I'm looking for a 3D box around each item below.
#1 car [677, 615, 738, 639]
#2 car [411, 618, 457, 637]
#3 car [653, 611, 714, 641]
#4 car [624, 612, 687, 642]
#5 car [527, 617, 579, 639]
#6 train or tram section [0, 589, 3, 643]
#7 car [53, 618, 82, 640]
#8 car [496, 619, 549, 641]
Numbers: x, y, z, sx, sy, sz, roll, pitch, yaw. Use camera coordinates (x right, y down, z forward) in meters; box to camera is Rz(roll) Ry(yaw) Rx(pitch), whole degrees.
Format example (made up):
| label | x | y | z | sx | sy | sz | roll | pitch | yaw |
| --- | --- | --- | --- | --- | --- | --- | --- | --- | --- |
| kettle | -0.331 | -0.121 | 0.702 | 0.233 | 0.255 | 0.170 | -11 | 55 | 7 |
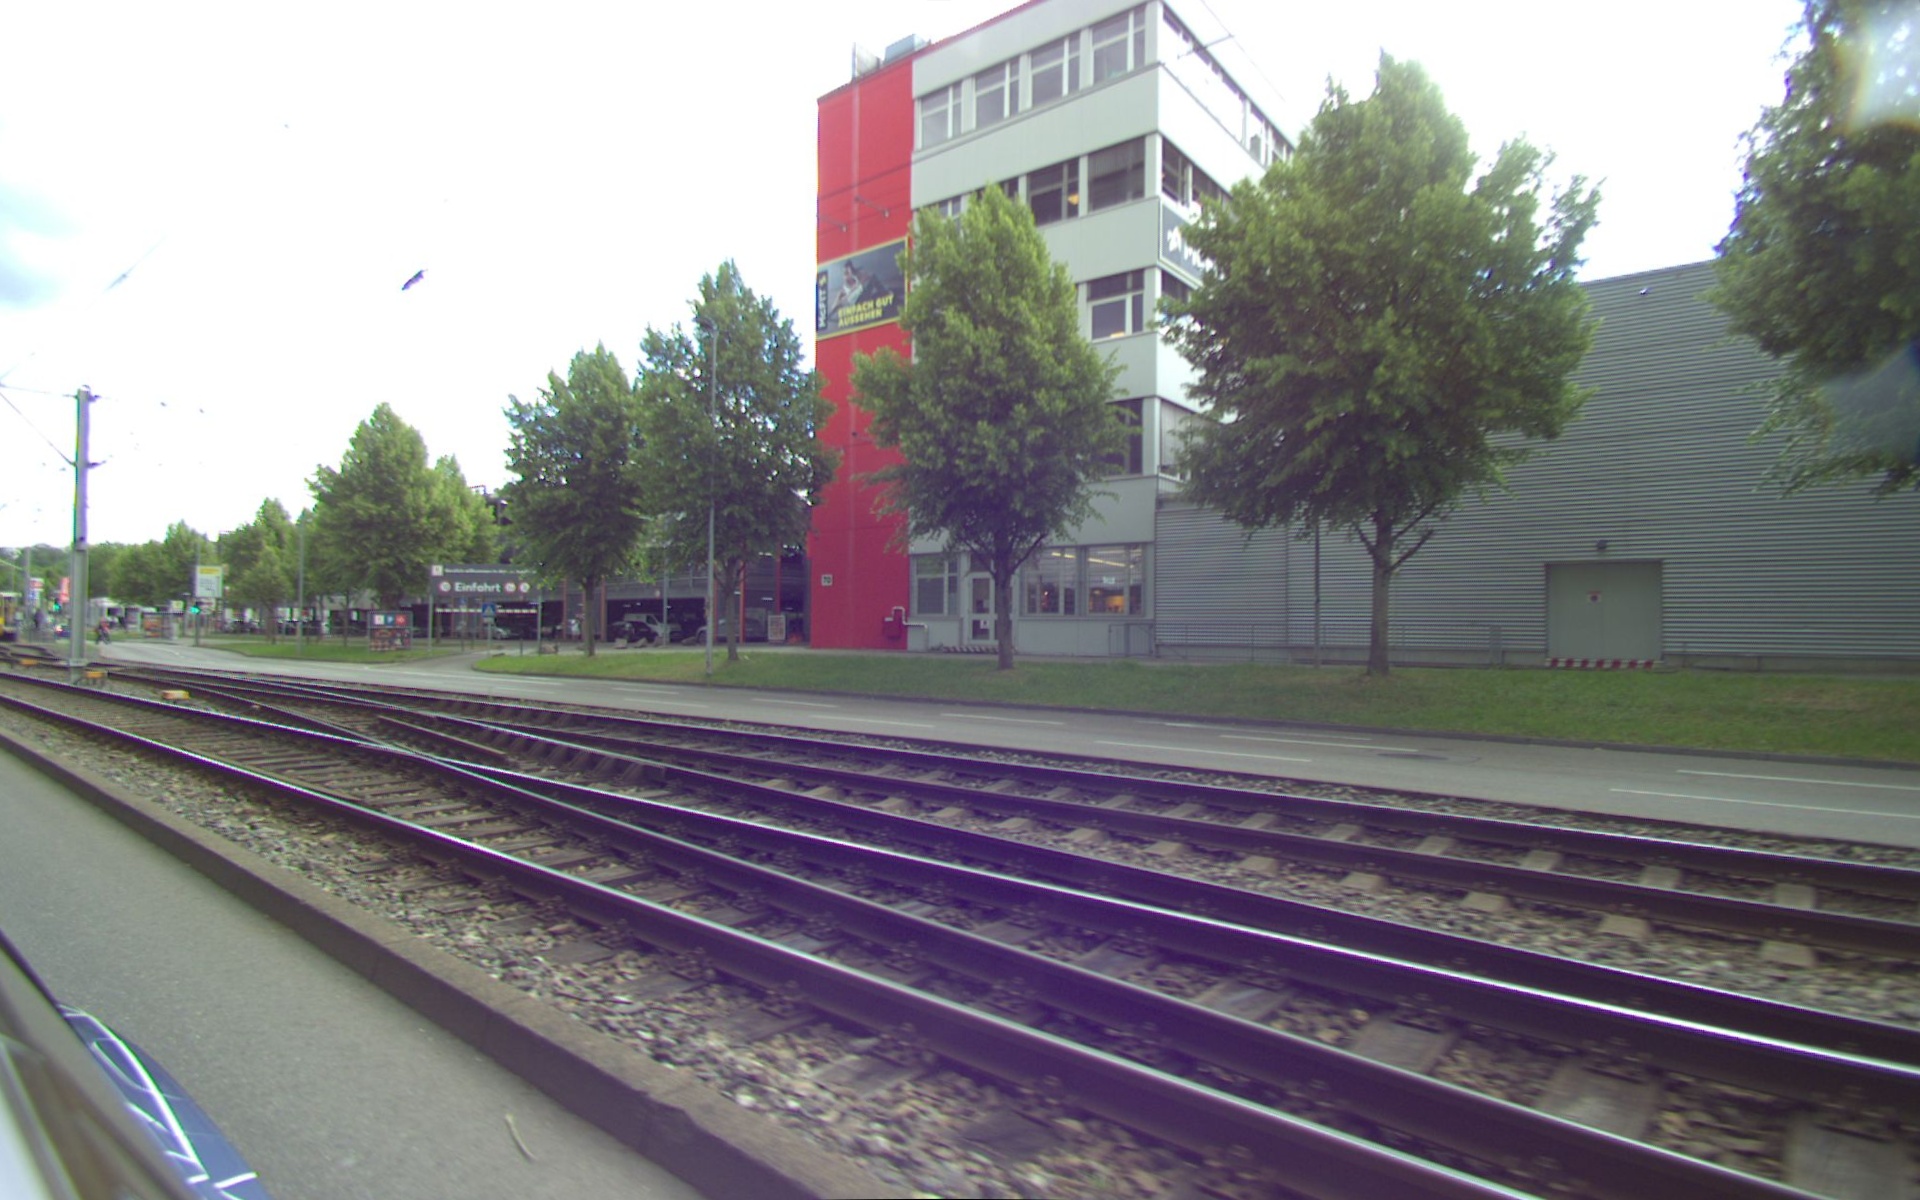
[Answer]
| label | x | y | z | sx | sy | sz | roll | pitch | yaw |
| --- | --- | --- | --- | --- | --- | --- | --- | --- | --- |
| car | -18.240 | 1.936 | 73.041 | 4.400 | 1.662 | 1.974 | -1 | -2 | 38 |
| car | -46.832 | 2.441 | 90.099 | 4.400 | 1.712 | 1.974 | -1 | -2 | 38 |
| car | -19.516 | 1.849 | 71.358 | 4.400 | 2.029 | 1.974 | -1 | -2 | 38 |
| car | -20.929 | 1.857 | 69.434 | 4.400 | 2.029 | 1.974 | -1 | -2 | 38 |
| car | -32.613 | 2.201 | 81.094 | 4.400 | 1.712 | 1.974 | -1 | -2 | 38 |
| train or tram section | -73.211 | 1.229 | 74.232 | 13.775 | 3.804 | 2.743 | -1 | -2 | 40 |
| car | -85.454 | 2.771 | 96.907 | 1.970 | 2.029 | 4.004 | 1 | -2 | -43 |
| car | -34.244 | 2.317 | 79.121 | 4.400 | 1.640 | 1.974 | -1 | -2 | 38 |
